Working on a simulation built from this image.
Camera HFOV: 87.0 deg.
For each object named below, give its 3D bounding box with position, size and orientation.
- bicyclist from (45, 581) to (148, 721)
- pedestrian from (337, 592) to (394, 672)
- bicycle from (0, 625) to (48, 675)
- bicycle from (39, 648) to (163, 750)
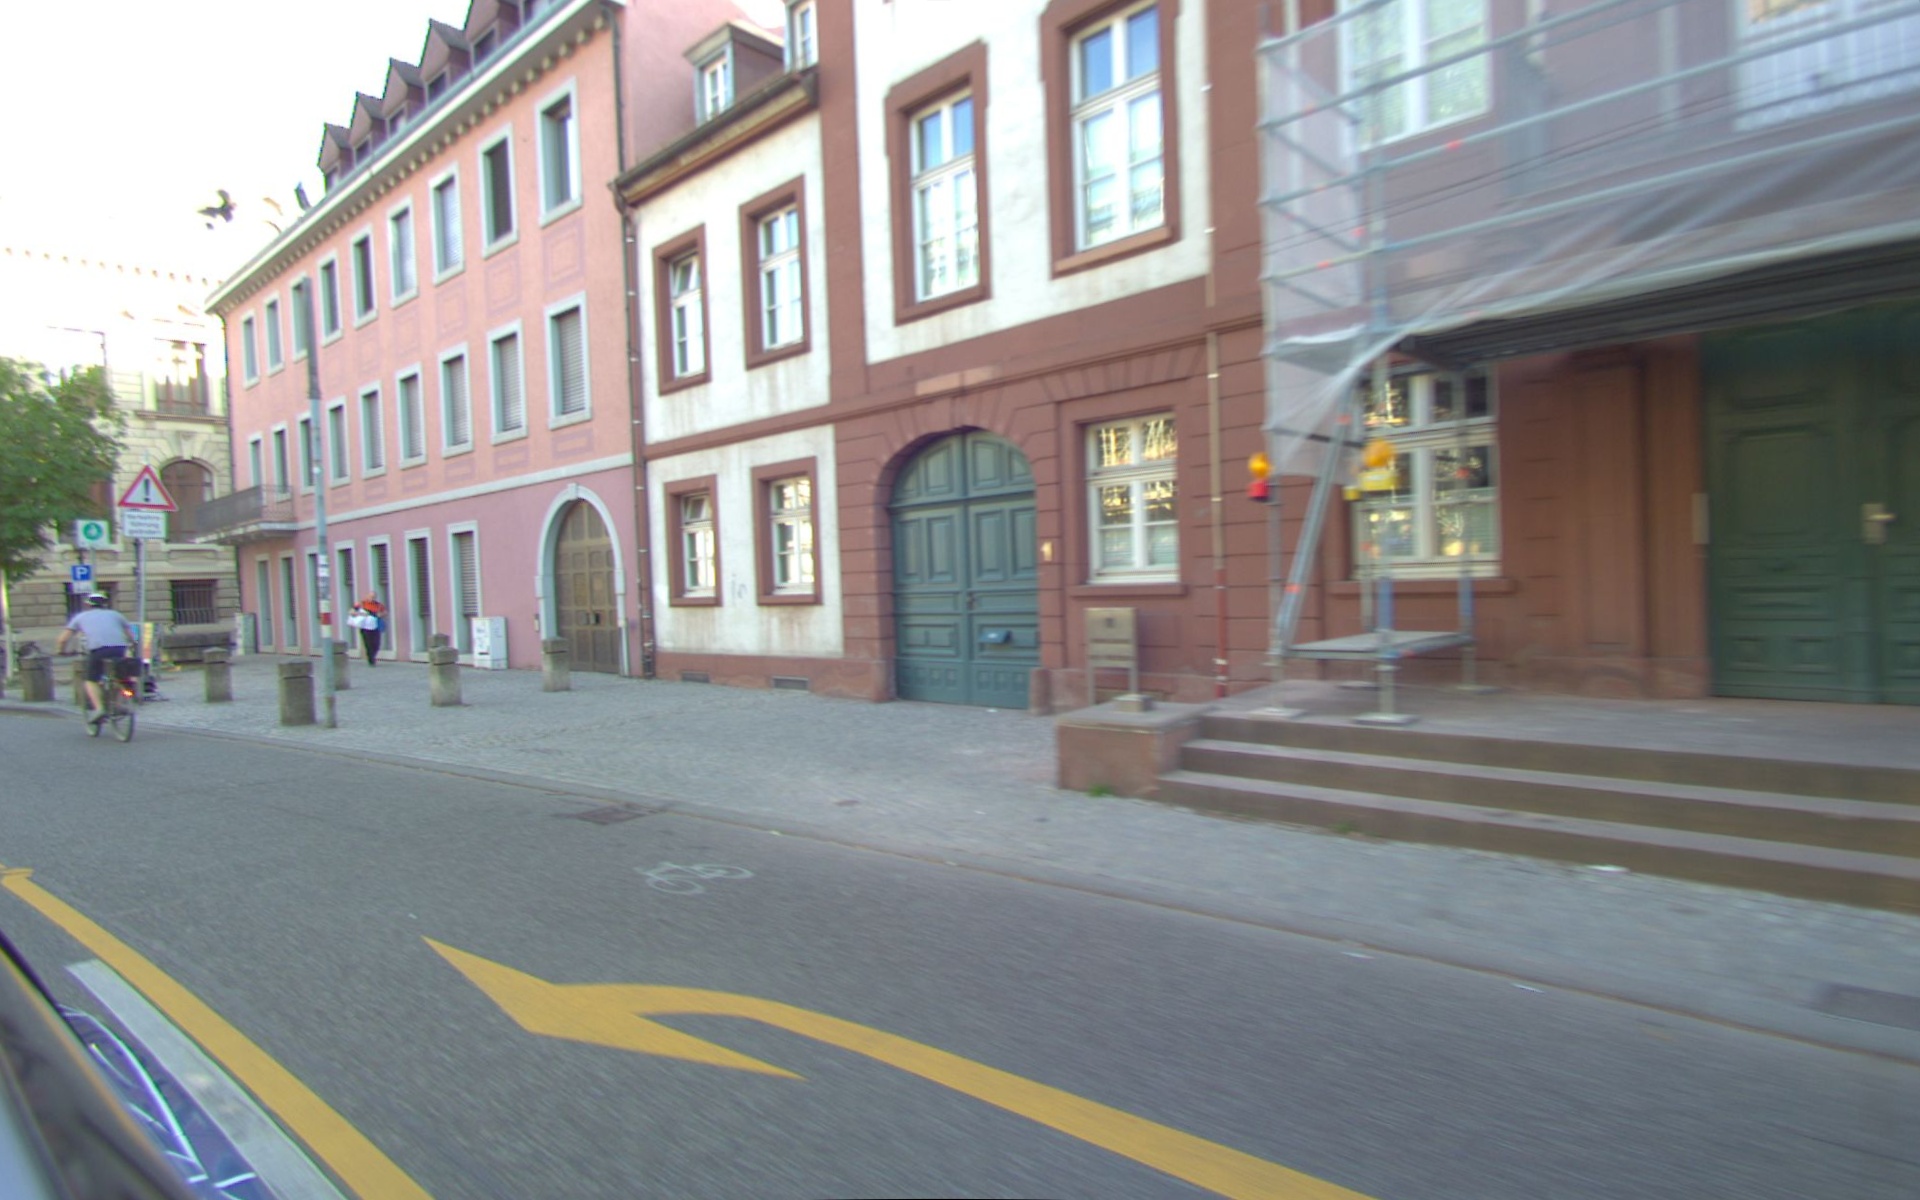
[{"bbox_3d":[-10.475,0.601,12.279,0.794,1.595,0.737,-2,2,39],"label":"bicyclist"},{"bbox_3d":[-13.369,0.712,22.755,0.868,1.701,0.783,-1,3,41],"label":"pedestrian"},{"bbox_3d":[-24.057,1.257,25.390,0.673,1.215,2.008,-1,0,-5],"label":"bicycle"},{"bbox_3d":[-10.490,1.158,12.337,2.076,1.070,0.764,-2,1,40],"label":"bicycle"}]
